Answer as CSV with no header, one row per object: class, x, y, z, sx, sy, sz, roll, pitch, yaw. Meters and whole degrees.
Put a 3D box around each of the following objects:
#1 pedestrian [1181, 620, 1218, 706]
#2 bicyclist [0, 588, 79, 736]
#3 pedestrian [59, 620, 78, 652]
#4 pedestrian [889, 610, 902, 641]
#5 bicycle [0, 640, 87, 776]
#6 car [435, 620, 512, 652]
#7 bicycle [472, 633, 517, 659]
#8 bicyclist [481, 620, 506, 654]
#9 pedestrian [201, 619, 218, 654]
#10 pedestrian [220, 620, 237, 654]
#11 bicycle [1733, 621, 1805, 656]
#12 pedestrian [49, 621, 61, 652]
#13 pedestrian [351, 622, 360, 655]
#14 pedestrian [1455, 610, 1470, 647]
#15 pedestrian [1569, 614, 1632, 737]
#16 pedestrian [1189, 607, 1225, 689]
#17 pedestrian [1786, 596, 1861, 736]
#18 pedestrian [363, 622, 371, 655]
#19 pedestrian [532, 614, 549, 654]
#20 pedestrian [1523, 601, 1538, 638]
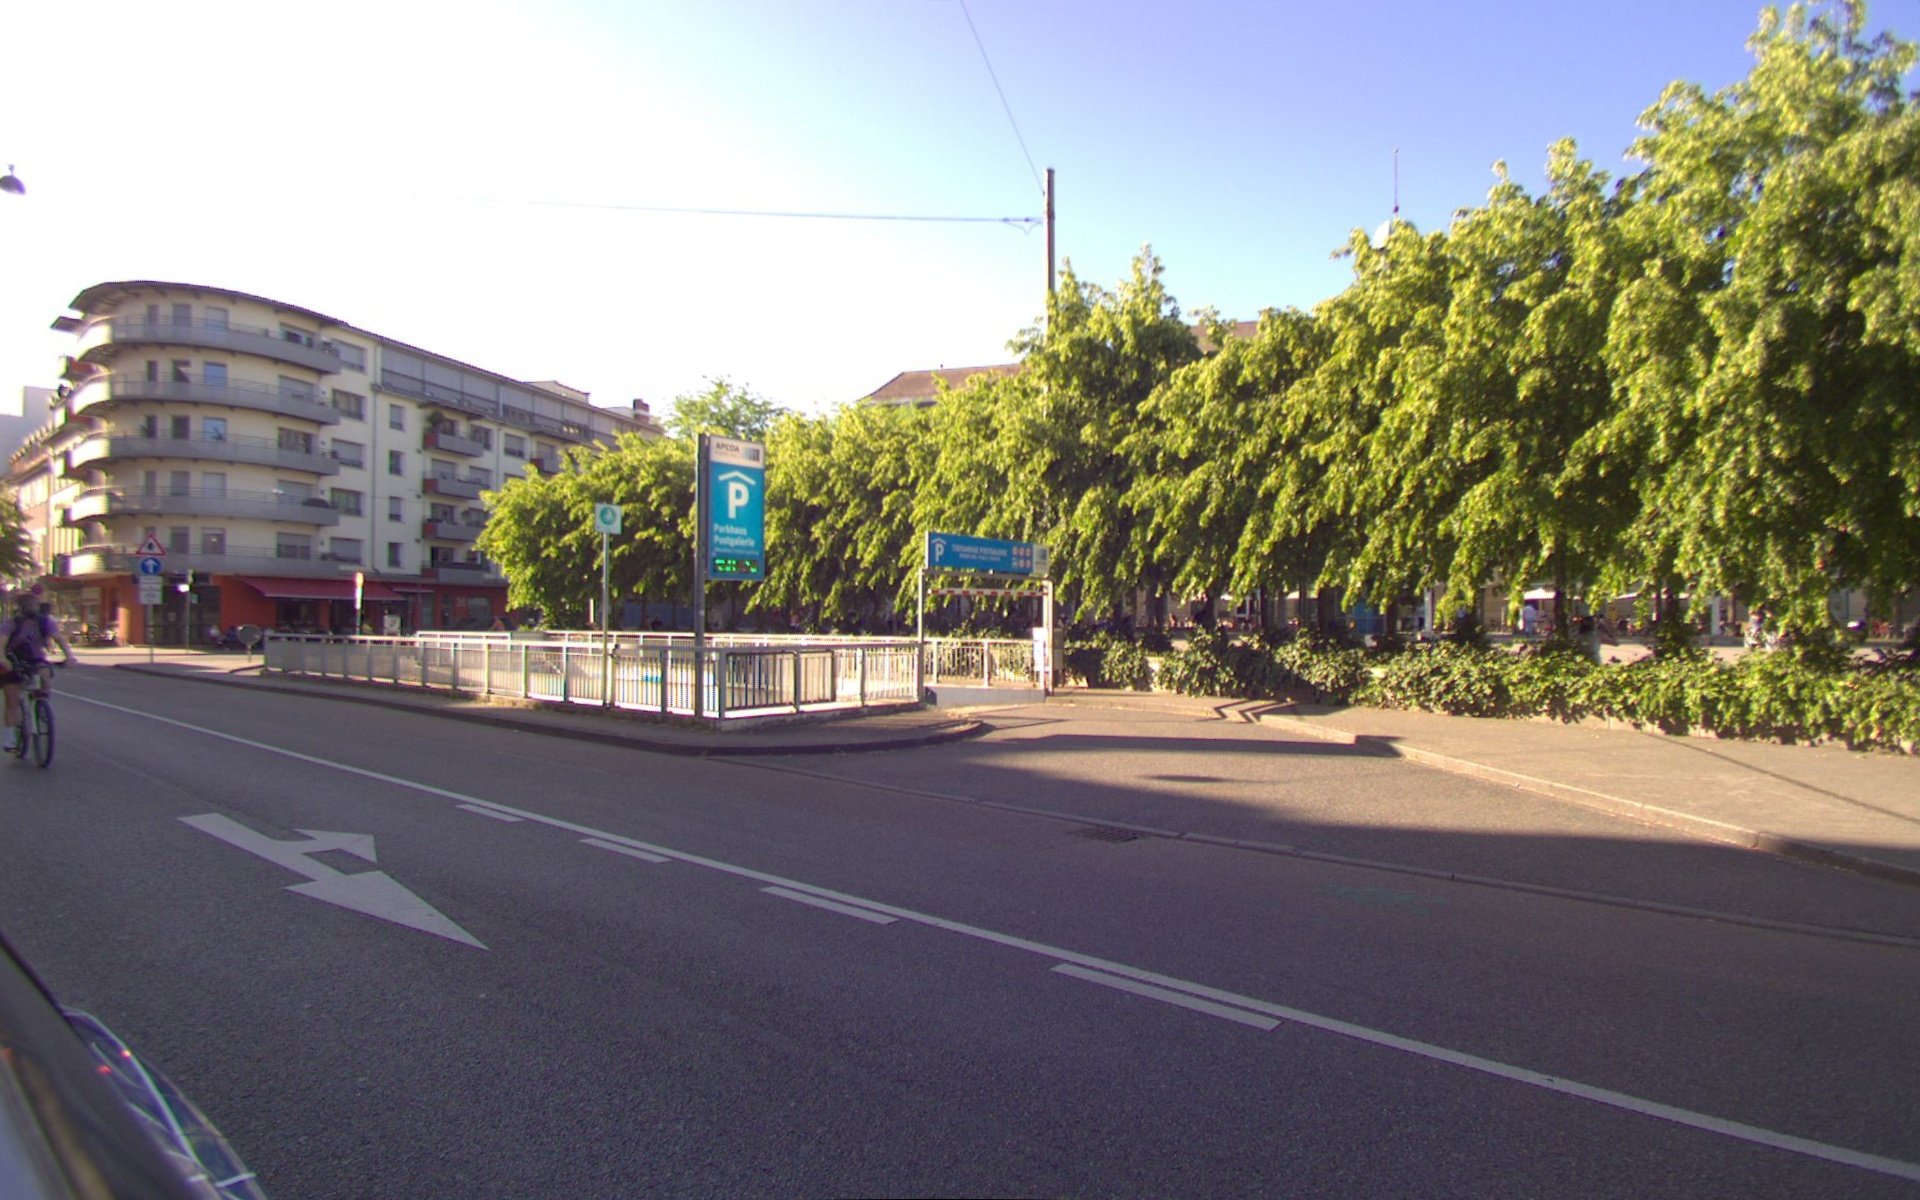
pedestrian,5.379,1.396,22.733,0.600,1.870,0.575,-1,-1,38
bicyclist,-9.585,0.611,10.312,1.007,1.445,0.788,-1,-1,41
pedestrian,-45.047,1.812,51.149,0.792,1.634,0.563,-1,-1,37
pedestrian,-3.723,1.463,58.408,0.578,1.806,0.597,-1,0,20
bicycle,-9.533,1.047,10.270,1.773,1.242,0.788,-1,-1,41
car,-30.360,2.211,63.293,1.938,1.927,4.403,-1,-1,16
bicycle,-22.688,2.239,49.321,1.845,1.221,0.714,-1,0,-4
bicyclist,-22.711,1.785,49.318,0.960,1.627,0.715,0,0,-10
pedestrian,-37.594,1.811,50.698,0.642,1.721,0.568,-2,-2,43
pedestrian,-36.671,1.855,50.744,0.642,1.721,0.568,-2,-2,43
bicycle,25.297,1.200,31.688,0.496,1.024,2.061,-1,0,-3
pedestrian,-45.363,1.803,50.716,0.515,1.541,0.371,-1,-1,37
pedestrian,-31.119,1.991,52.094,0.318,1.680,0.362,0,-1,-17
pedestrian,24.949,1.425,50.283,0.599,1.806,0.576,-1,-1,31
pedestrian,10.064,1.163,15.906,0.732,1.870,0.574,-1,-1,44
pedestrian,5.769,1.104,23.627,0.674,1.870,0.577,-1,-1,30
pedestrian,11.833,0.885,13.879,0.597,1.870,0.578,-1,0,22
pedestrian,-30.727,1.988,52.469,0.266,1.680,0.362,0,-1,-17
pedestrian,-19.445,1.559,46.905,0.574,1.806,0.602,-1,0,-5
pedestrian,28.262,0.963,50.102,0.598,1.806,0.577,-1,-1,27
